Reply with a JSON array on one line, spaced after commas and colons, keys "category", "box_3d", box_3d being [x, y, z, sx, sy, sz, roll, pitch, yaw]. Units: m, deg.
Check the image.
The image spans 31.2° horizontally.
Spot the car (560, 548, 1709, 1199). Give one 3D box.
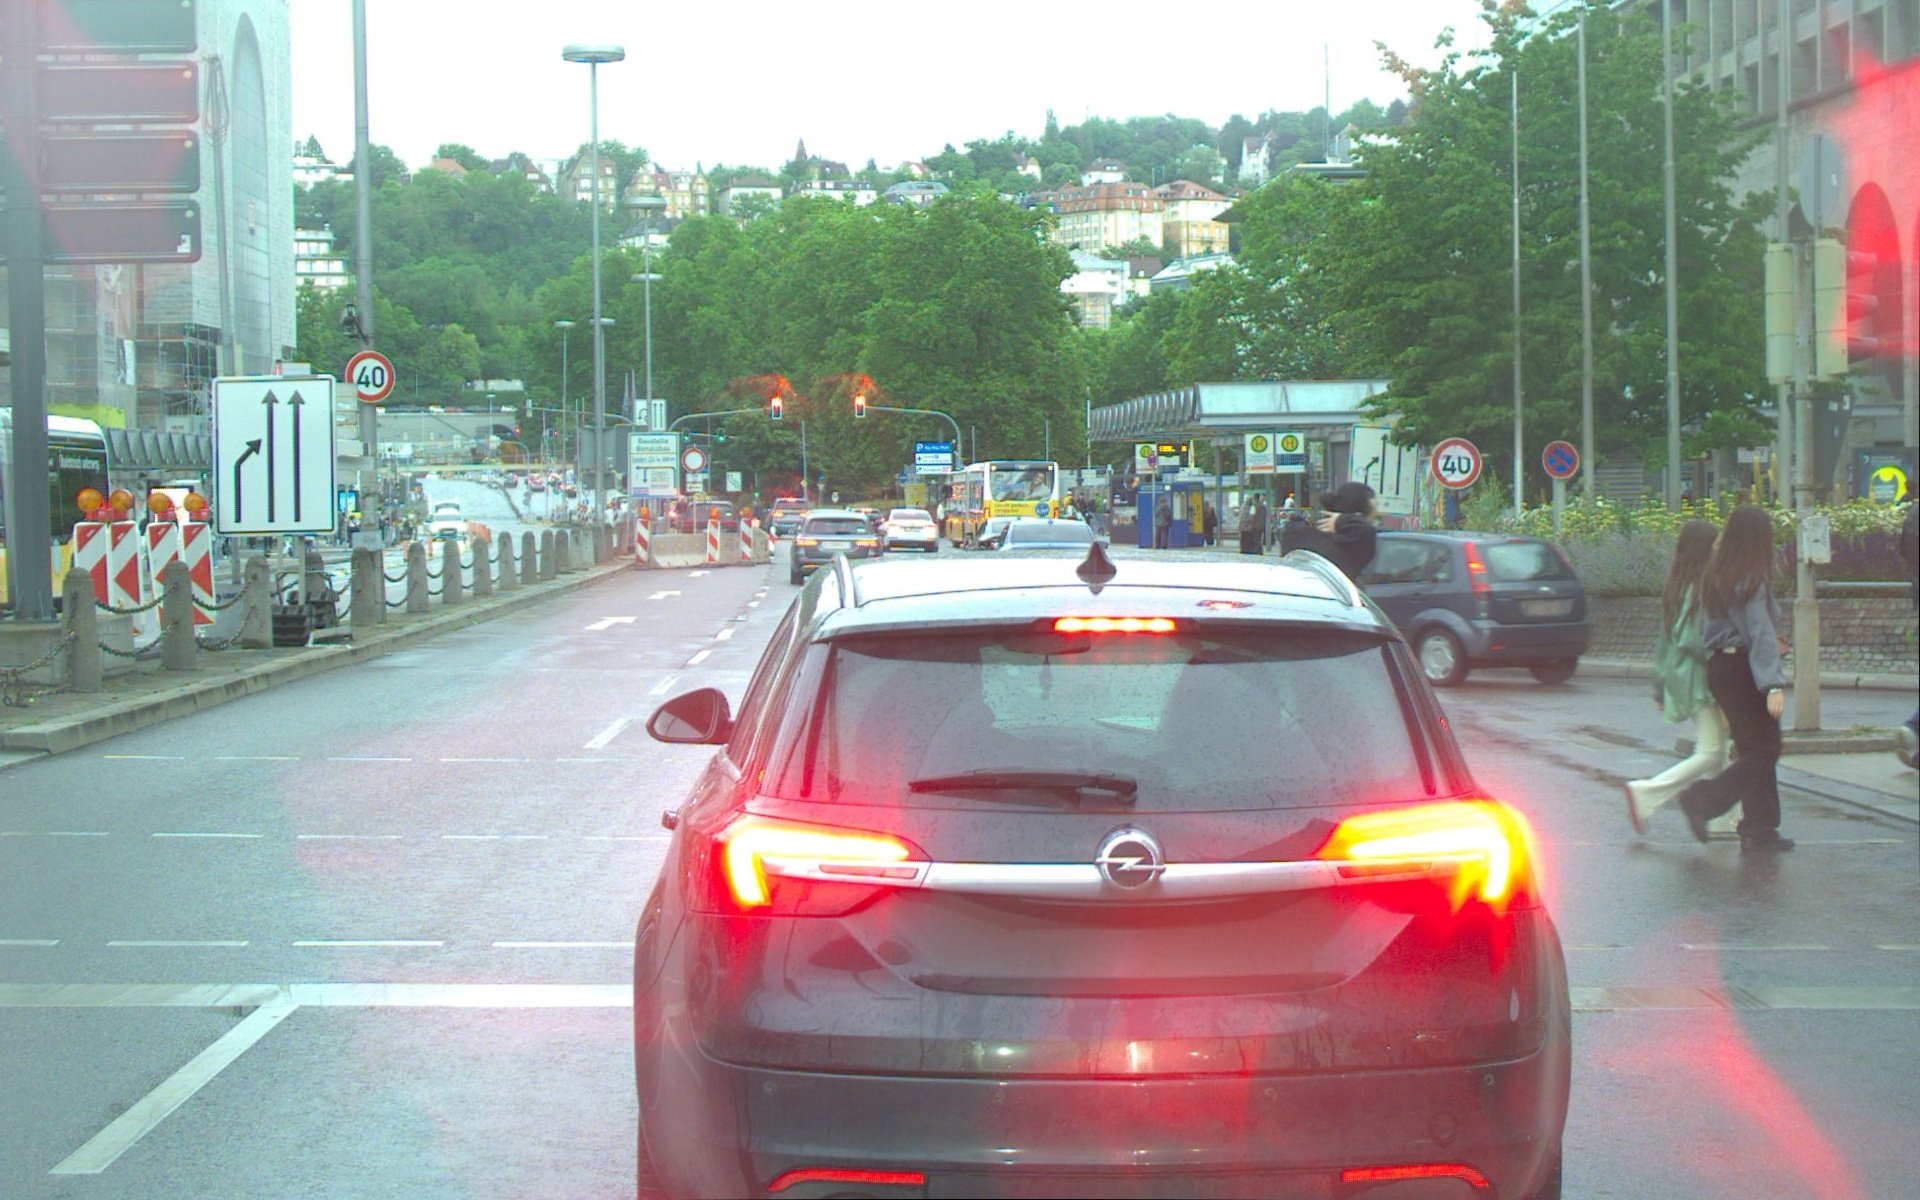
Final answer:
[{"category": "car", "box_3d": [0.247, 0.640, 7.649, 1.874, 1.481, 4.000, 1, 1, -1]}]

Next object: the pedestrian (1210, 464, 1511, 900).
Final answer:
[{"category": "pedestrian", "box_3d": [1.669, 0.330, 14.434, 1.096, 1.745, 0.654, -2, 1, -3]}]

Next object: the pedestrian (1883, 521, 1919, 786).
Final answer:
[{"category": "pedestrian", "box_3d": [5.595, 0.298, 19.317, 0.678, 1.469, 0.366, 1, 1, -5]}]

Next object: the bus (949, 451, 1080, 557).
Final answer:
[{"category": "bus", "box_3d": [1.780, -3.275, 120.874, 4.173, 3.457, 14.655, 1, 1, -1]}]

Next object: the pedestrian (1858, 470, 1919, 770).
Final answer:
[{"category": "pedestrian", "box_3d": [5.655, 0.115, 19.883, 0.755, 1.711, 0.466, 1, 1, -4]}]

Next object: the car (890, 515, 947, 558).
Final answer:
[{"category": "car", "box_3d": [-1.387, -2.119, 115.293, 1.845, 1.393, 3.564, 1, 1, -1]}]

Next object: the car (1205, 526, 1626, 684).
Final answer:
[{"category": "car", "box_3d": [4.271, 0.014, 32.603, 1.846, 1.393, 3.666, 0, 1, -39]}]

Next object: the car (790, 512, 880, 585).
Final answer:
[{"category": "car", "box_3d": [-2.529, -1.045, 69.766, 1.753, 1.393, 4.538, 1, 1, -2]}]

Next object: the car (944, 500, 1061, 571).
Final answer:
[{"category": "car", "box_3d": [0.847, -1.322, 70.839, 1.752, 1.393, 4.403, 1, 1, -8]}]

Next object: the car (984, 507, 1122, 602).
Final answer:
[{"category": "car", "box_3d": [1.403, -0.708, 53.716, 1.753, 1.393, 4.649, 1, 1, -3]}]

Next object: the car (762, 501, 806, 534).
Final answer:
[{"category": "car", "box_3d": [-7.651, -3.591, 149.866, 1.759, 1.393, 3.564, 1, 1, -1]}]

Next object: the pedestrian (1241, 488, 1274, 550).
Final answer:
[{"category": "pedestrian", "box_3d": [8.140, -2.215, 94.129, 0.763, 1.684, 0.825, 1, 1, -5]}]

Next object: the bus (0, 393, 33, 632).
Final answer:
[{"category": "bus", "box_3d": [-15.727, -1.280, 48.350, 2.668, 3.589, 10.240, 1, 1, -1]}]

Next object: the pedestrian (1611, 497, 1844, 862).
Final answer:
[{"category": "pedestrian", "box_3d": [3.513, 0.350, 15.795, 0.793, 1.620, 0.900, 1, 1, -4]}]

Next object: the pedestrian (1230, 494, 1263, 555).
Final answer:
[{"category": "pedestrian", "box_3d": [7.938, -2.094, 95.294, 0.763, 1.684, 0.825, 1, 1, -5]}]

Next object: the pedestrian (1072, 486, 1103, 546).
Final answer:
[{"category": "pedestrian", "box_3d": [5.237, -3.429, 140.800, 1.199, 2.427, 1.228, 1, 1, 1]}]

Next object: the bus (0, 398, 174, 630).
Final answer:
[{"category": "bus", "box_3d": [-15.855, -1.423, 58.535, 2.668, 3.589, 10.212, 1, 1, -1]}]
